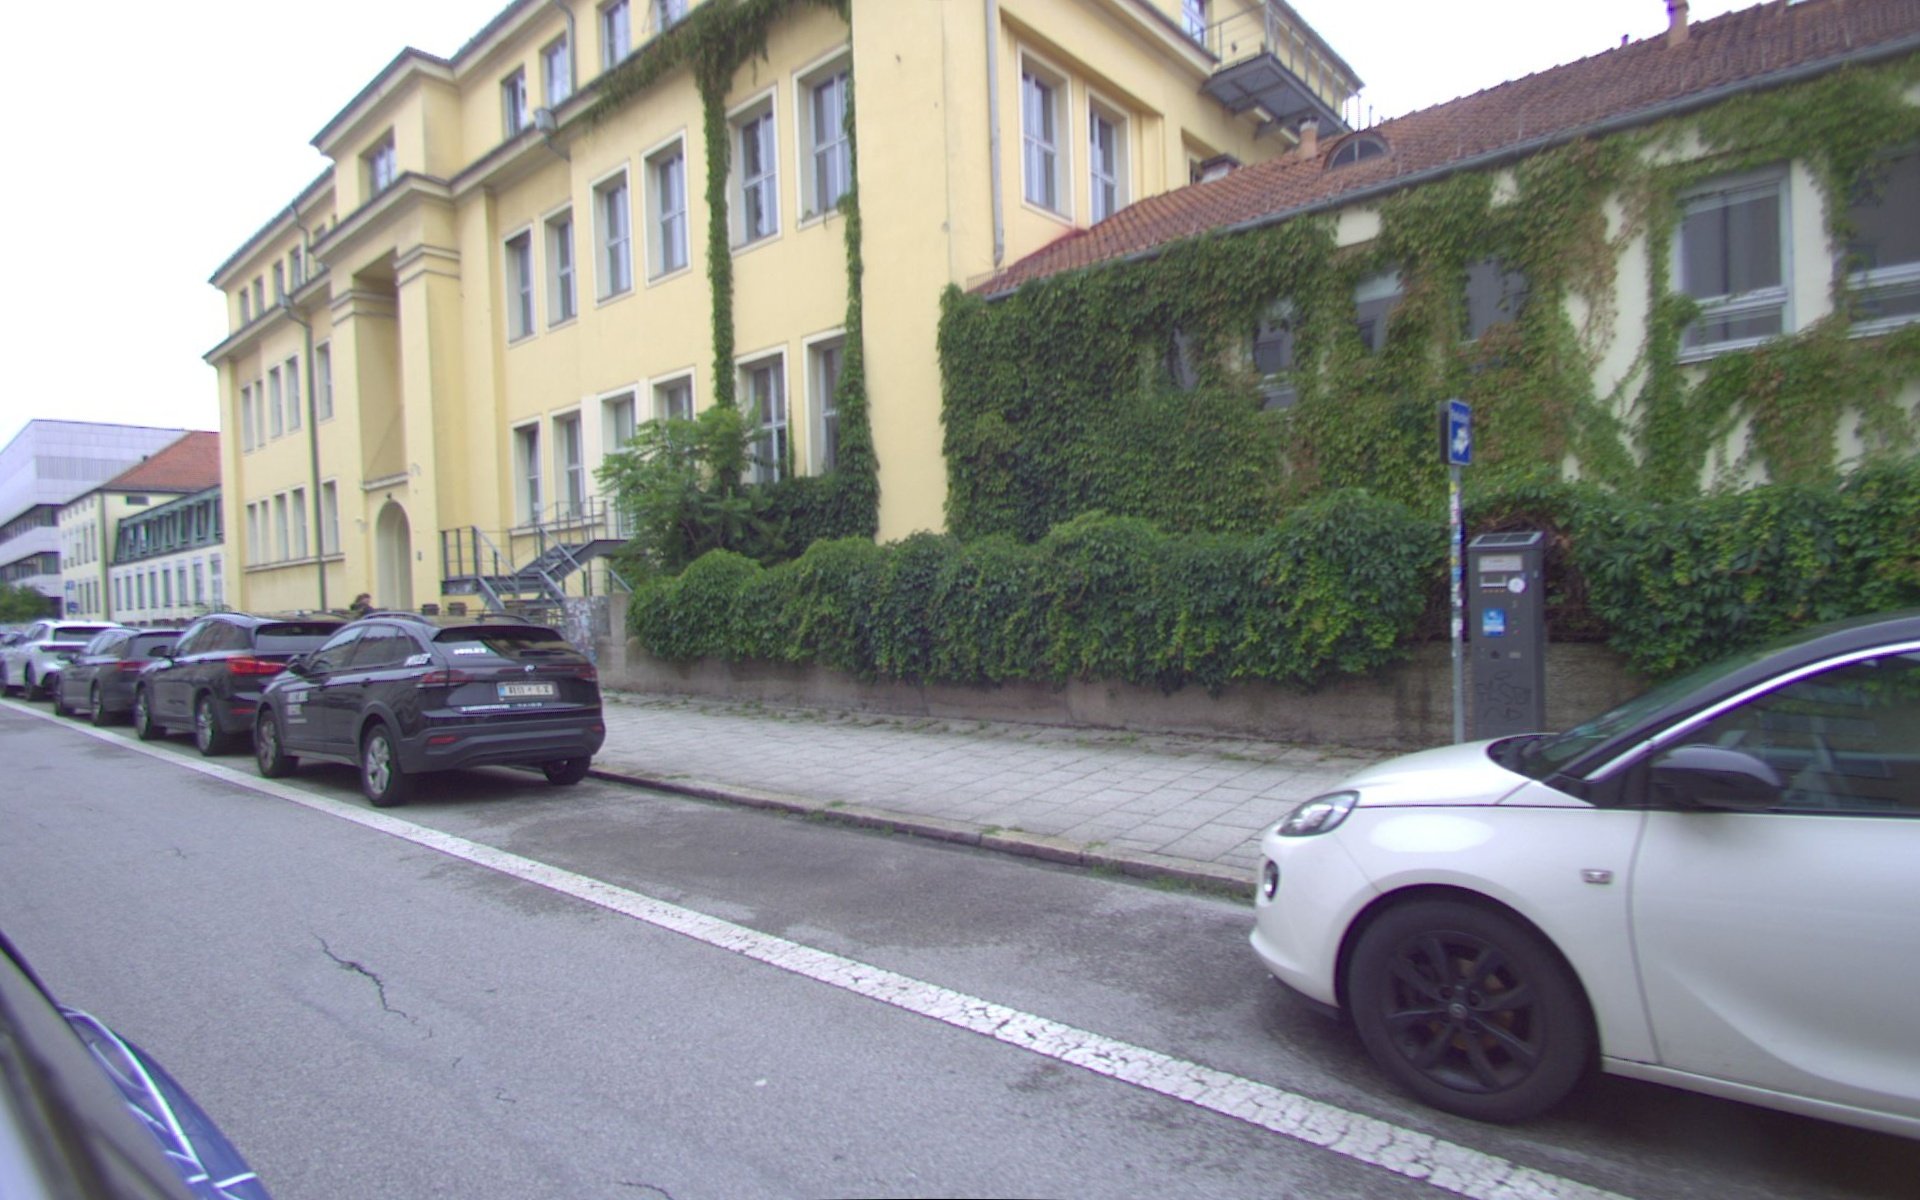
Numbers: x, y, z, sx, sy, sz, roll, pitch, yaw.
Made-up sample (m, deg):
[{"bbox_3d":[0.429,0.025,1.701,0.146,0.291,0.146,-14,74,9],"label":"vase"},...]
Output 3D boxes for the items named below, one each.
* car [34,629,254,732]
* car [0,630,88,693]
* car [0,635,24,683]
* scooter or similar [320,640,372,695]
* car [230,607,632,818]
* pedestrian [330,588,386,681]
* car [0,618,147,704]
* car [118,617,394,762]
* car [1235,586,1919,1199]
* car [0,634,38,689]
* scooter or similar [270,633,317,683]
[{"bbox_3d":[-13.083,1.216,16.136,4.595,1.419,1.756,-2,-4,39],"label":"car"},{"bbox_3d":[-23.199,1.502,25.124,3.912,1.457,1.591,-2,-3,38],"label":"car"},{"bbox_3d":[-30.714,1.835,31.624,4.110,1.457,1.668,-2,-2,41],"label":"car"},{"bbox_3d":[-13.389,1.462,22.050,1.444,1.144,0.526,-3,-1,41],"label":"scooter or similar"},{"bbox_3d":[-4.935,0.893,9.199,4.215,1.492,1.700,-2,-4,39],"label":"car"},{"bbox_3d":[-12.403,0.699,20.842,0.782,1.838,0.766,-2,0,44],"label":"pedestrian"},{"bbox_3d":[-19.048,1.269,21.535,4.294,1.653,1.764,-2,-4,38],"label":"car"},{"bbox_3d":[-8.851,1.008,12.590,4.270,1.514,1.751,-2,-3,40],"label":"car"},{"bbox_3d":[2.757,0.693,2.670,3.555,1.420,1.650,-2,-3,39],"label":"car"},{"bbox_3d":[-26.926,1.675,27.929,3.777,1.450,1.716,-2,-3,41],"label":"car"},{"bbox_3d":[-15.933,1.384,24.185,1.444,1.144,0.526,-3,-1,41],"label":"scooter or similar"}]
